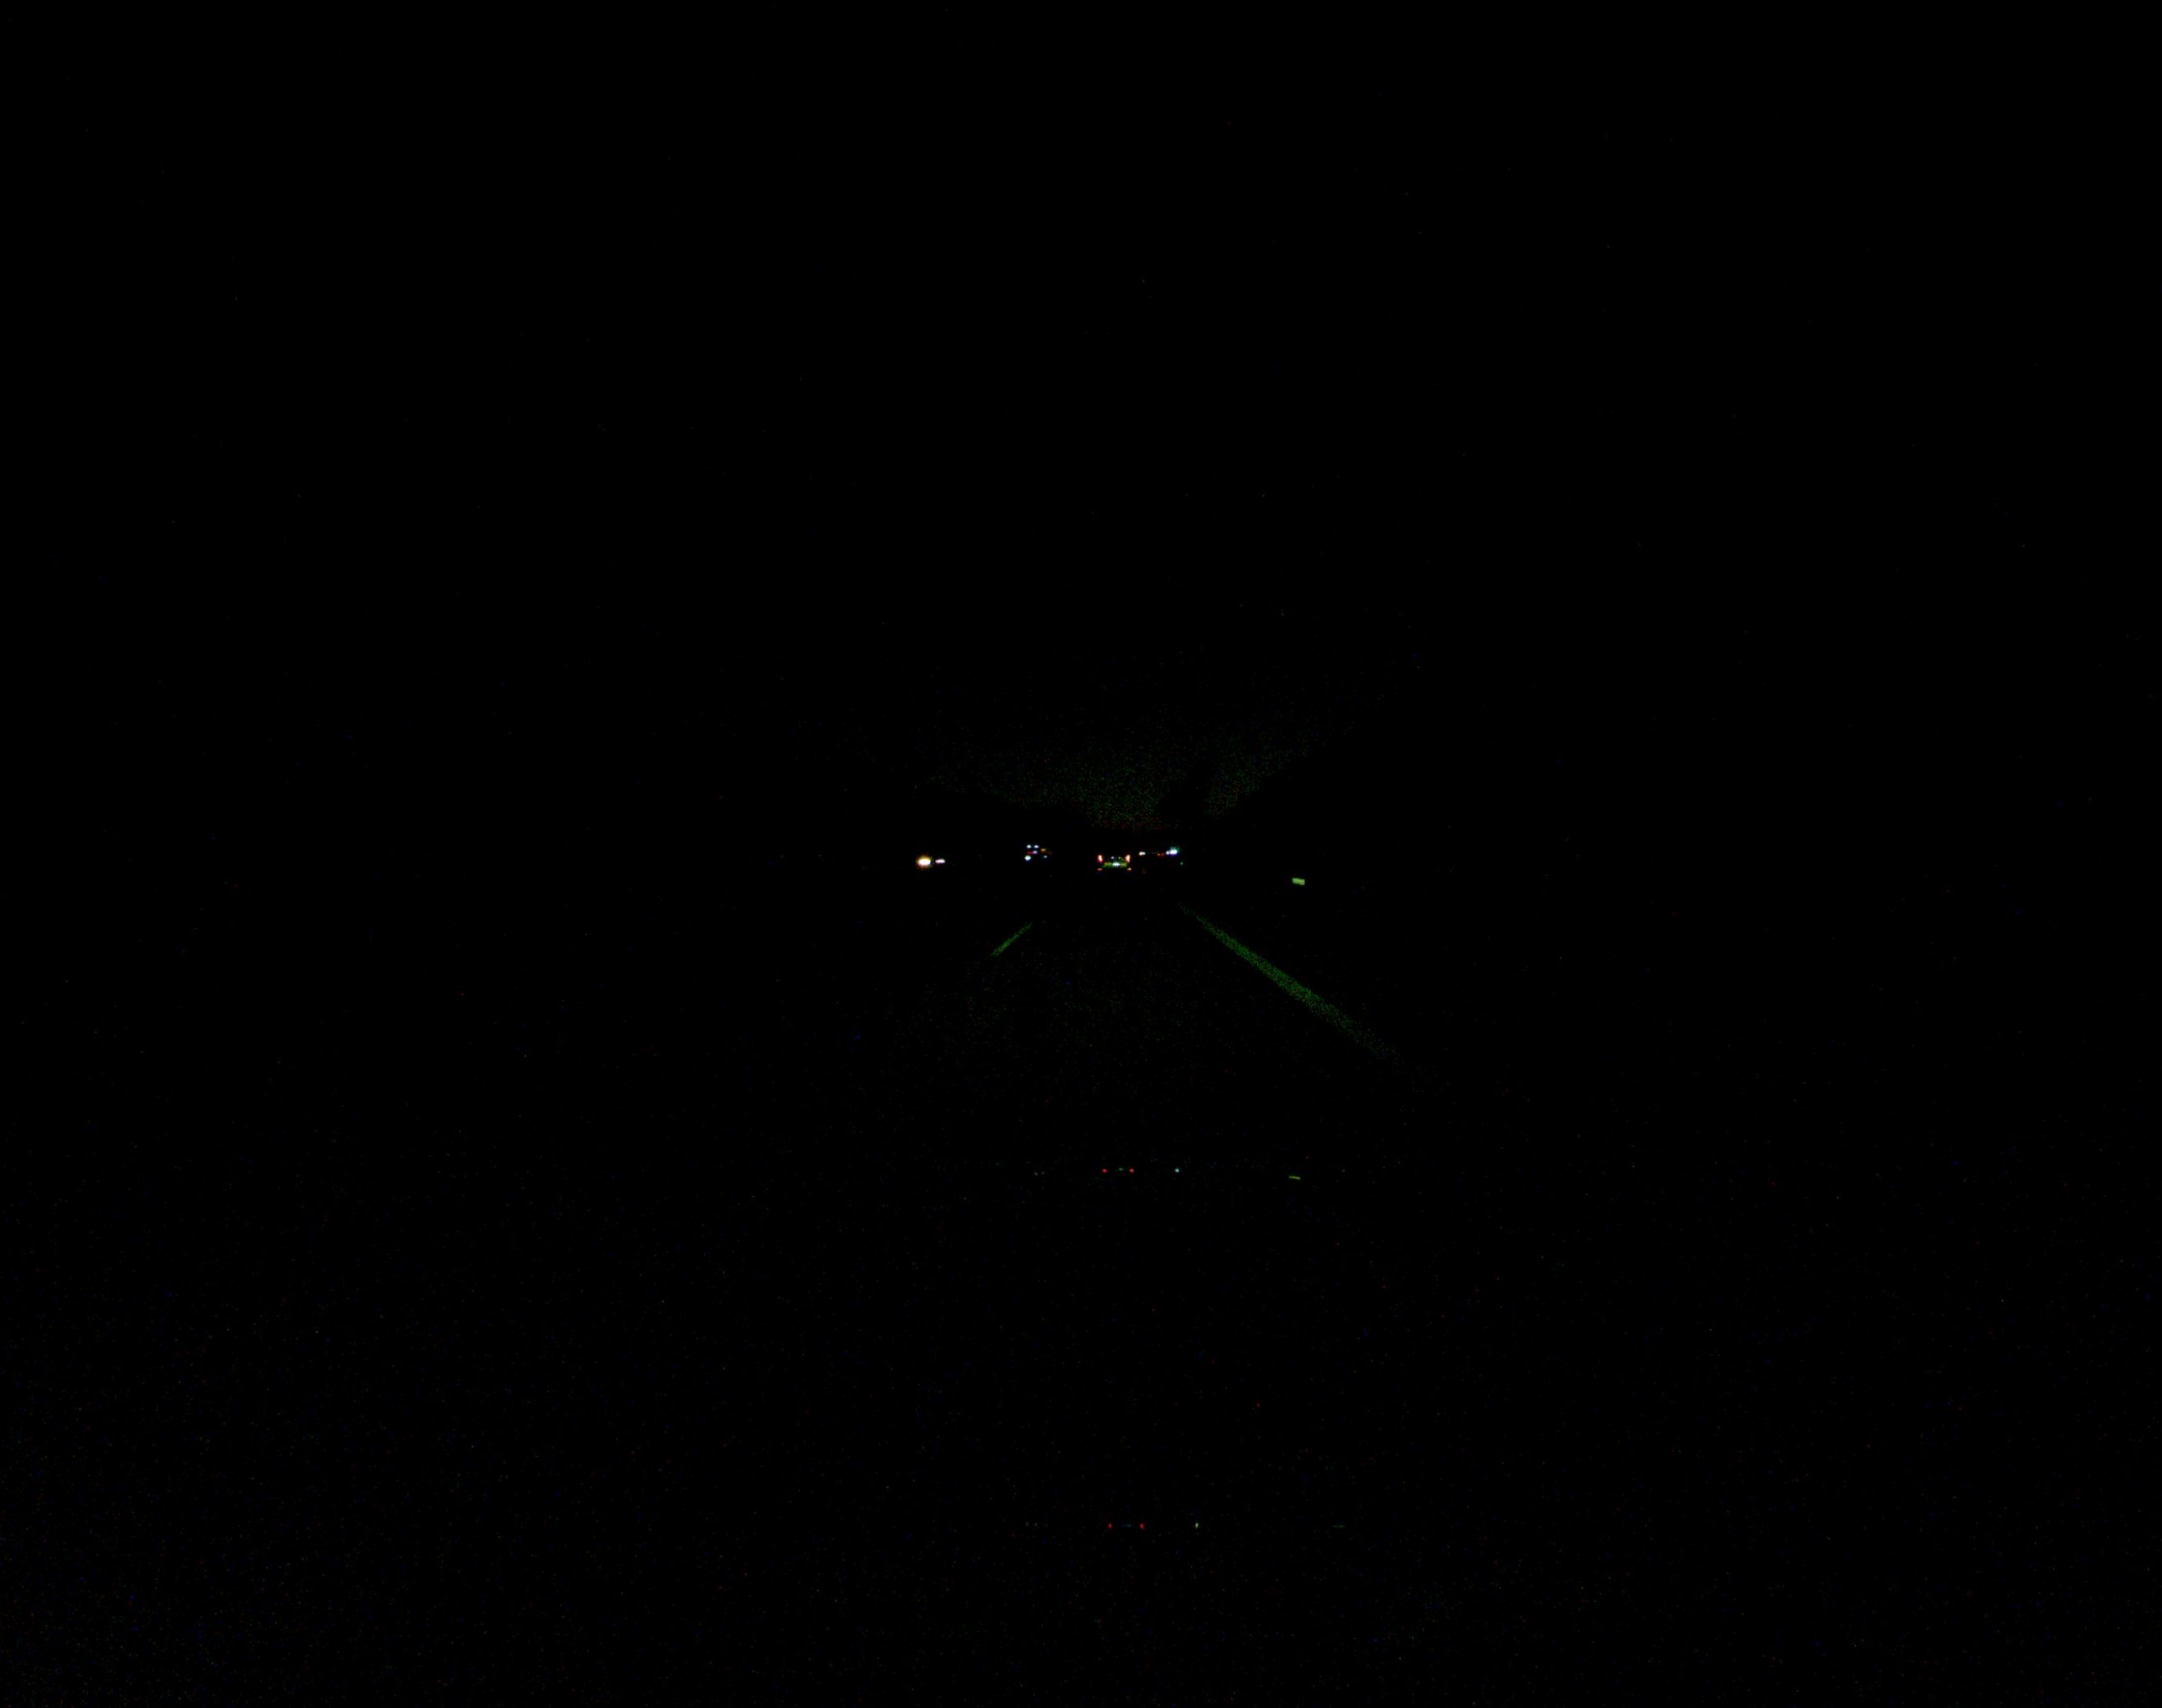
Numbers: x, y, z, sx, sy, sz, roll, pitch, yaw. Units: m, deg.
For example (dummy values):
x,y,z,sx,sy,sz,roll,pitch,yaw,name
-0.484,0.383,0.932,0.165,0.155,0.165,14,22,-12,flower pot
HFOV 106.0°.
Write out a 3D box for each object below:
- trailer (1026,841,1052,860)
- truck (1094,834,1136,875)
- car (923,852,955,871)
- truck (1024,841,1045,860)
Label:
x,y,z,sx,sy,sz,roll,pitch,yaw,name
-9.325,-0.586,182.585,3.526,4.000,17.305,-1,-1,5,trailer
2.275,0.057,56.604,2.621,2.624,8.685,-1,-1,1,truck
-14.620,0.746,84.124,1.985,1.821,5.692,-1,-1,3,car
-9.954,-0.731,175.403,3.485,3.970,6.709,-1,-1,5,truck
